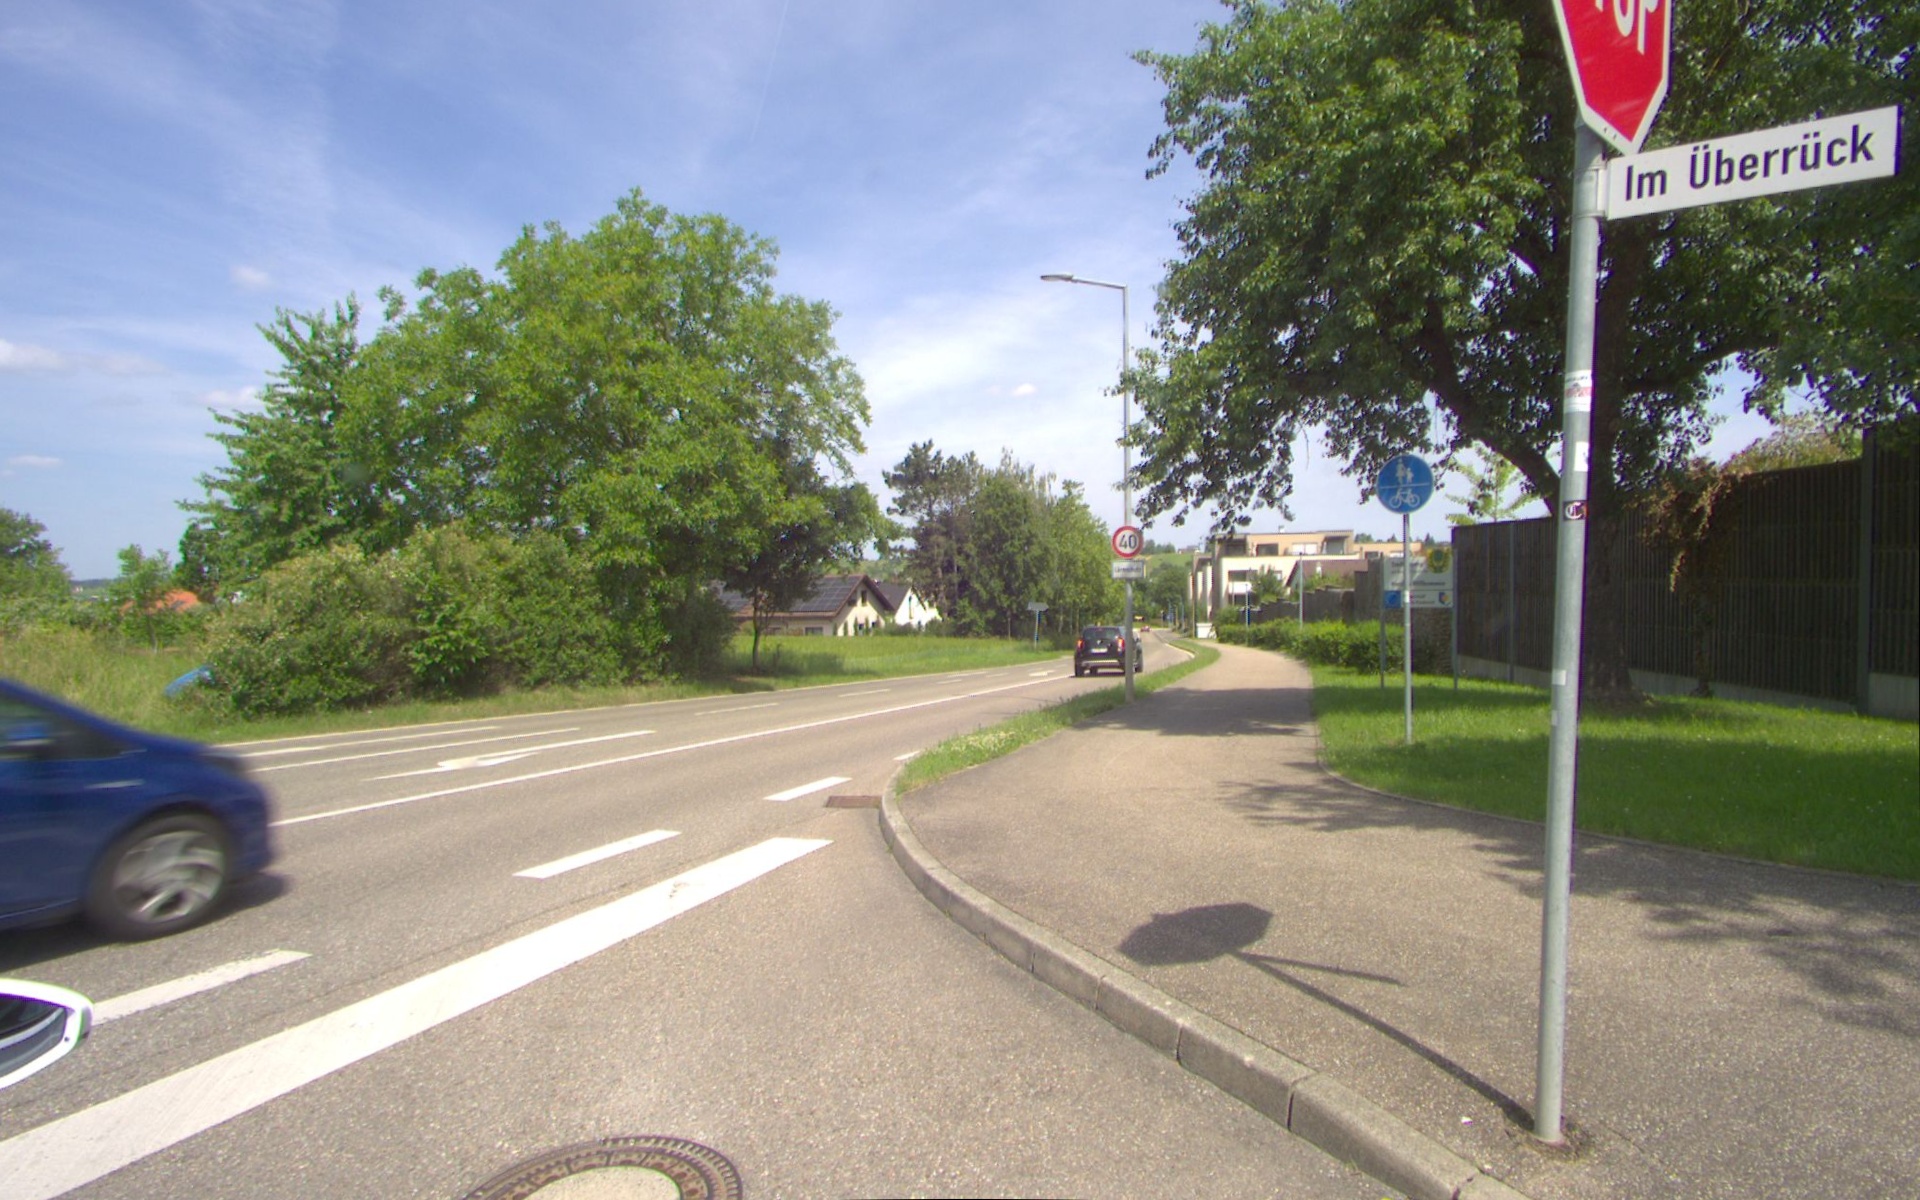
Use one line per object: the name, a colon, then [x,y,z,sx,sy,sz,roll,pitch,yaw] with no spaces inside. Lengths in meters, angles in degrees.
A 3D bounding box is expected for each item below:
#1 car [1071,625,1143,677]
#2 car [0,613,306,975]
car: [4.927,1.637,33.132,1.797,1.601,3.996,0,-2,17]
car: [-4.939,0.789,3.896,1.585,1.511,3.843,1,-1,19]
